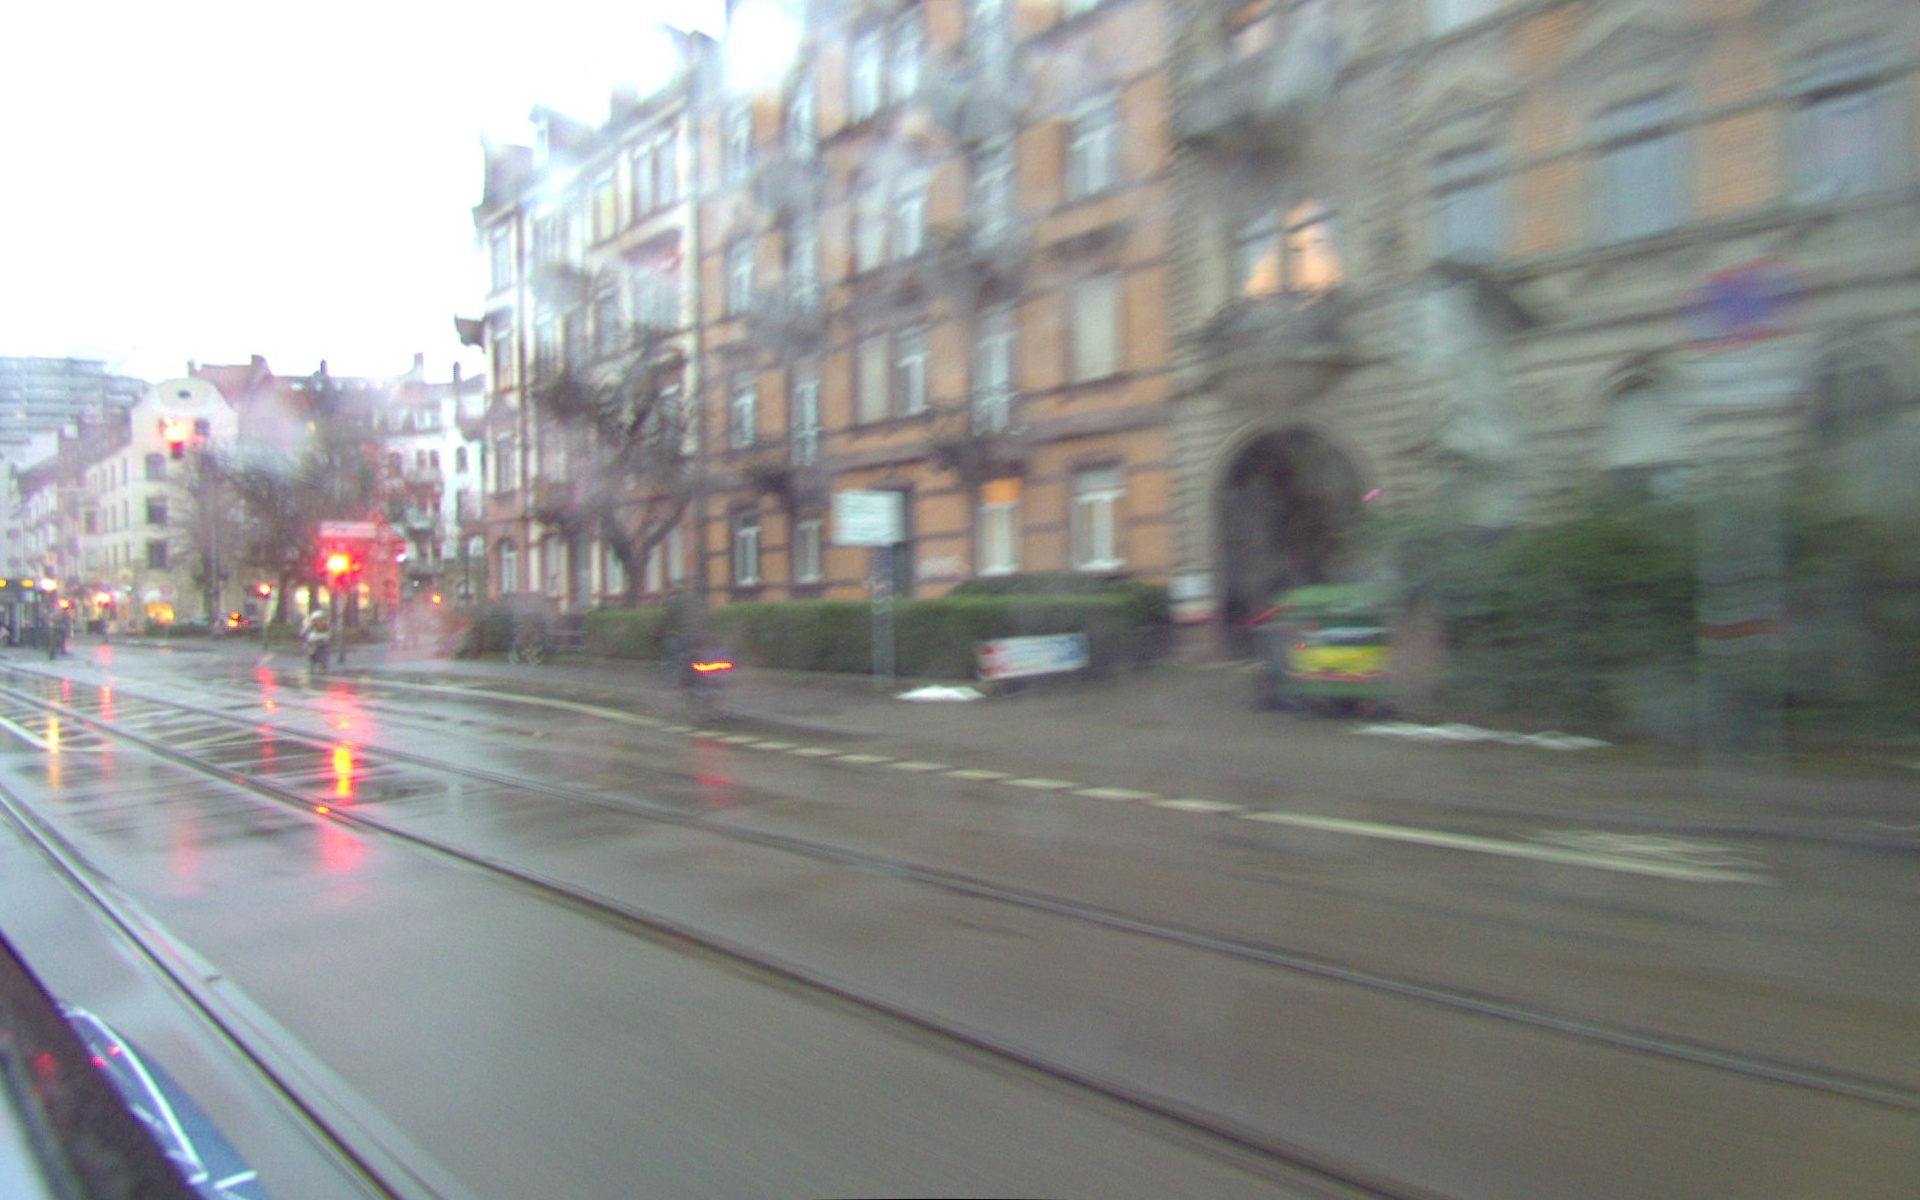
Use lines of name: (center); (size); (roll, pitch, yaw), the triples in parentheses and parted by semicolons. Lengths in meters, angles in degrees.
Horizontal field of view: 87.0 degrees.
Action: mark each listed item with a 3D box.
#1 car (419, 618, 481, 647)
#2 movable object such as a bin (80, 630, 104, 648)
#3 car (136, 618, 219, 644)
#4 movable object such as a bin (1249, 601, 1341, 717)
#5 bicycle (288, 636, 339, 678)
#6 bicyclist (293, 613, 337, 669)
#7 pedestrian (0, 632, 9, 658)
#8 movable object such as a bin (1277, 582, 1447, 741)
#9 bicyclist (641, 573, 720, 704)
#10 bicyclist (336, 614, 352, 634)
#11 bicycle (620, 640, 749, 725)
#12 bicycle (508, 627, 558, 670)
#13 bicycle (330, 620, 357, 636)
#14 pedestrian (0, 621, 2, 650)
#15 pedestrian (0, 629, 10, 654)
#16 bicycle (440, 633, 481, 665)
car: (-32.625, 2.108, 64.665); (3.850, 1.785, 1.859); (-2, -2, 33)
movable object such as a bin: (-72.481, 3.215, 84.512); (1.280, 1.382, 1.336); (-2, 2, 40)
car: (-53.526, 2.117, 69.311); (4.270, 1.595, 1.943); (-1, 0, -31)
movable object such as a bin: (3.979, 0.675, 12.006); (0.745, 1.302, 0.886); (-2, -1, 39)
bicycle: (-16.667, 1.445, 26.086); (1.803, 1.014, 0.674); (-1, -1, 43)
bicyclist: (-16.534, 1.038, 25.949); (0.944, 1.374, 0.697); (-1, 1, 43)
pedestrian: (-47.886, 2.247, 50.111); (0.506, 1.263, 1.045); (-2, 2, 41)
movable object such as a bin: (4.388, 0.620, 11.047); (1.229, 1.598, 1.309); (-1, 0, -44)
bicyclist: (-3.614, 0.483, 13.084); (0.765, 1.628, 0.676); (-1, -1, 42)
bicyclist: (-42.153, 1.646, 69.239); (0.758, 1.374, 0.528); (-1, 1, 15)
bicycle: (-3.584, 1.028, 13.068); (1.933, 0.979, 0.671); (-1, -1, 43)
bicycle: (-10.555, 1.174, 24.976); (1.849, 1.014, 0.411); (-1, -1, 43)
bicycle: (-42.162, 1.908, 69.250); (1.795, 1.014, 0.489); (-1, 0, 16)
pedestrian: (-48.860, 1.813, 51.047); (0.578, 1.414, 0.677); (-2, 1, 41)
pedestrian: (-47.269, 2.039, 49.797); (0.517, 1.227, 0.646); (-2, 1, 41)
bicycle: (-14.002, 1.362, 28.365); (1.849, 0.869, 0.395); (-1, -1, 43)
